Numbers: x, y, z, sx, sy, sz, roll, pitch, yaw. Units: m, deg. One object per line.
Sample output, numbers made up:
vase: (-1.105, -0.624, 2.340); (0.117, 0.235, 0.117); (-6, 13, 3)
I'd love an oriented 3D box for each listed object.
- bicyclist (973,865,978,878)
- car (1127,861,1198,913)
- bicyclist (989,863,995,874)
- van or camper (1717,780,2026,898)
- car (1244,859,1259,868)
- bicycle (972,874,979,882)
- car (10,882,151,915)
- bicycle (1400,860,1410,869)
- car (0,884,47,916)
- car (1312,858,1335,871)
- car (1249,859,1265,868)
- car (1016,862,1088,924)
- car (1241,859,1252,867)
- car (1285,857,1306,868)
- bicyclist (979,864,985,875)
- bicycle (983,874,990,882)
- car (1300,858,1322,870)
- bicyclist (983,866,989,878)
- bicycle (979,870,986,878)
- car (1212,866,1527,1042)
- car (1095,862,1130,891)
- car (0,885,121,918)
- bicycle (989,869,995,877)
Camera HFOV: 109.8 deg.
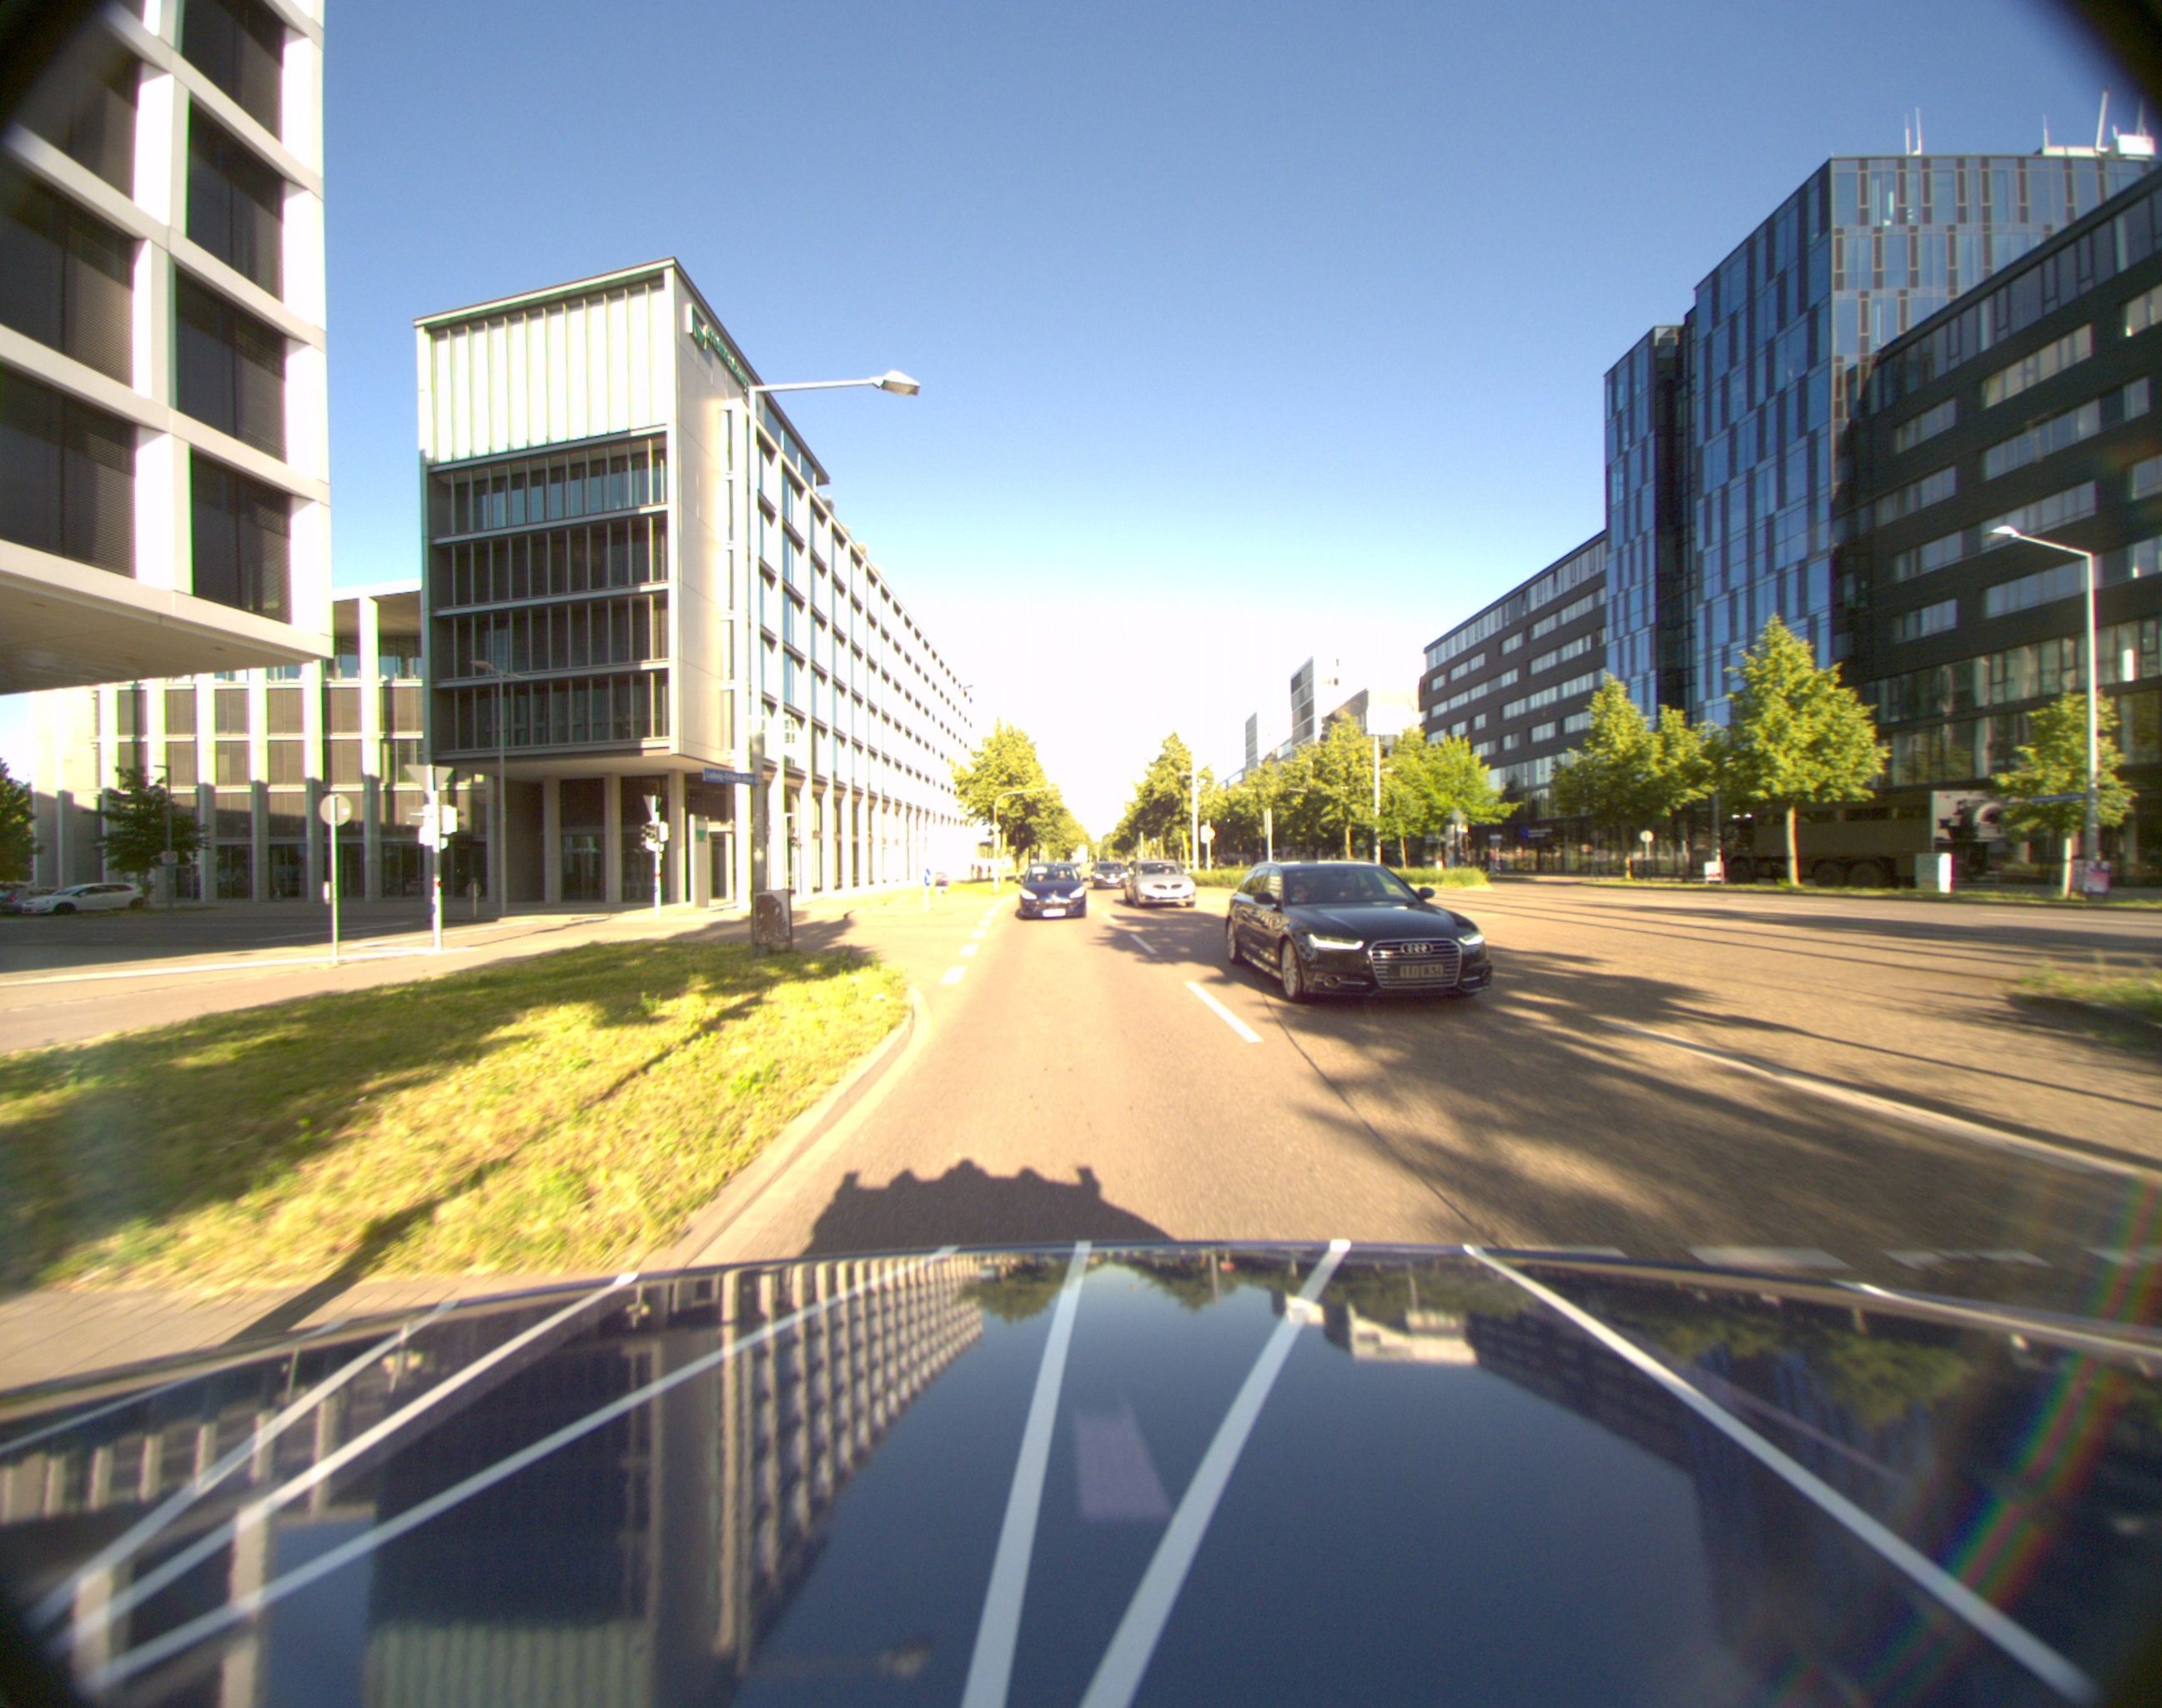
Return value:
bicyclist: (-11.120, 1.858, 80.170); (0.448, 1.282, 0.418); (-2, 1, 2)
car: (2.494, 0.978, 24.416); (1.812, 1.480, 4.743); (-1, 0, 1)
bicyclist: (-9.829, 1.595, 83.636); (0.534, 1.282, 0.521); (-2, 1, 2)
van or camper: (32.698, -0.514, 32.422); (2.760, 4.167, 10.231); (-1, 0, 2)
car: (35.143, 1.916, 156.783); (2.012, 1.688, 4.792); (-1, 0, 0)
bicycle: (-11.116, 2.531, 80.196); (0.415, 0.813, 1.320); (-2, 0, 2)
car: (-51.075, 2.252, 38.907); (1.657, 1.496, 4.005); (-1, 0, 14)
bicycle: (39.639, 1.262, 92.959); (0.528, 1.027, 1.848); (-2, 0, 2)
car: (-60.519, 2.571, 41.471); (1.790, 1.717, 4.464); (-1, 0, 16)
car: (32.757, 1.450, 102.767); (1.858, 1.738, 4.001); (-1, 0, 2)
car: (35.016, 1.904, 150.976); (2.012, 1.688, 4.792); (-1, 0, 0)
car: (-0.703, 0.999, 20.800); (1.686, 1.513, 3.786); (-1, 0, 2)
car: (35.232, 1.857, 161.612); (1.601, 1.659, 3.744); (-1, 0, 2)
car: (34.730, 1.436, 123.136); (2.012, 1.688, 4.791); (-1, 0, -2)
bicyclist: (-10.943, 1.705, 84.002); (0.534, 1.282, 0.457); (-2, 1, 2)
bicycle: (-10.014, 2.501, 80.398); (0.464, 0.813, 1.345); (-2, 0, 2)
car: (34.150, 1.456, 113.017); (1.858, 1.674, 4.793); (-1, 0, 2)
bicyclist: (-10.031, 1.882, 80.266); (0.534, 1.210, 0.507); (-2, 1, 2)
bicycle: (-10.920, 2.242, 84.063); (0.464, 0.813, 1.345); (-2, 0, 2)
car: (2.920, 0.908, 8.902); (1.813, 1.448, 4.507); (-1, 0, -2)
car: (1.697, 1.213, 41.927); (1.812, 1.513, 4.029); (-1, 0, 2)
car: (-53.735, 2.442, 39.750); (1.657, 1.496, 4.005); (-1, 0, 14)
bicycle: (-9.801, 2.091, 83.653); (0.464, 0.813, 1.345); (-2, 0, 2)
